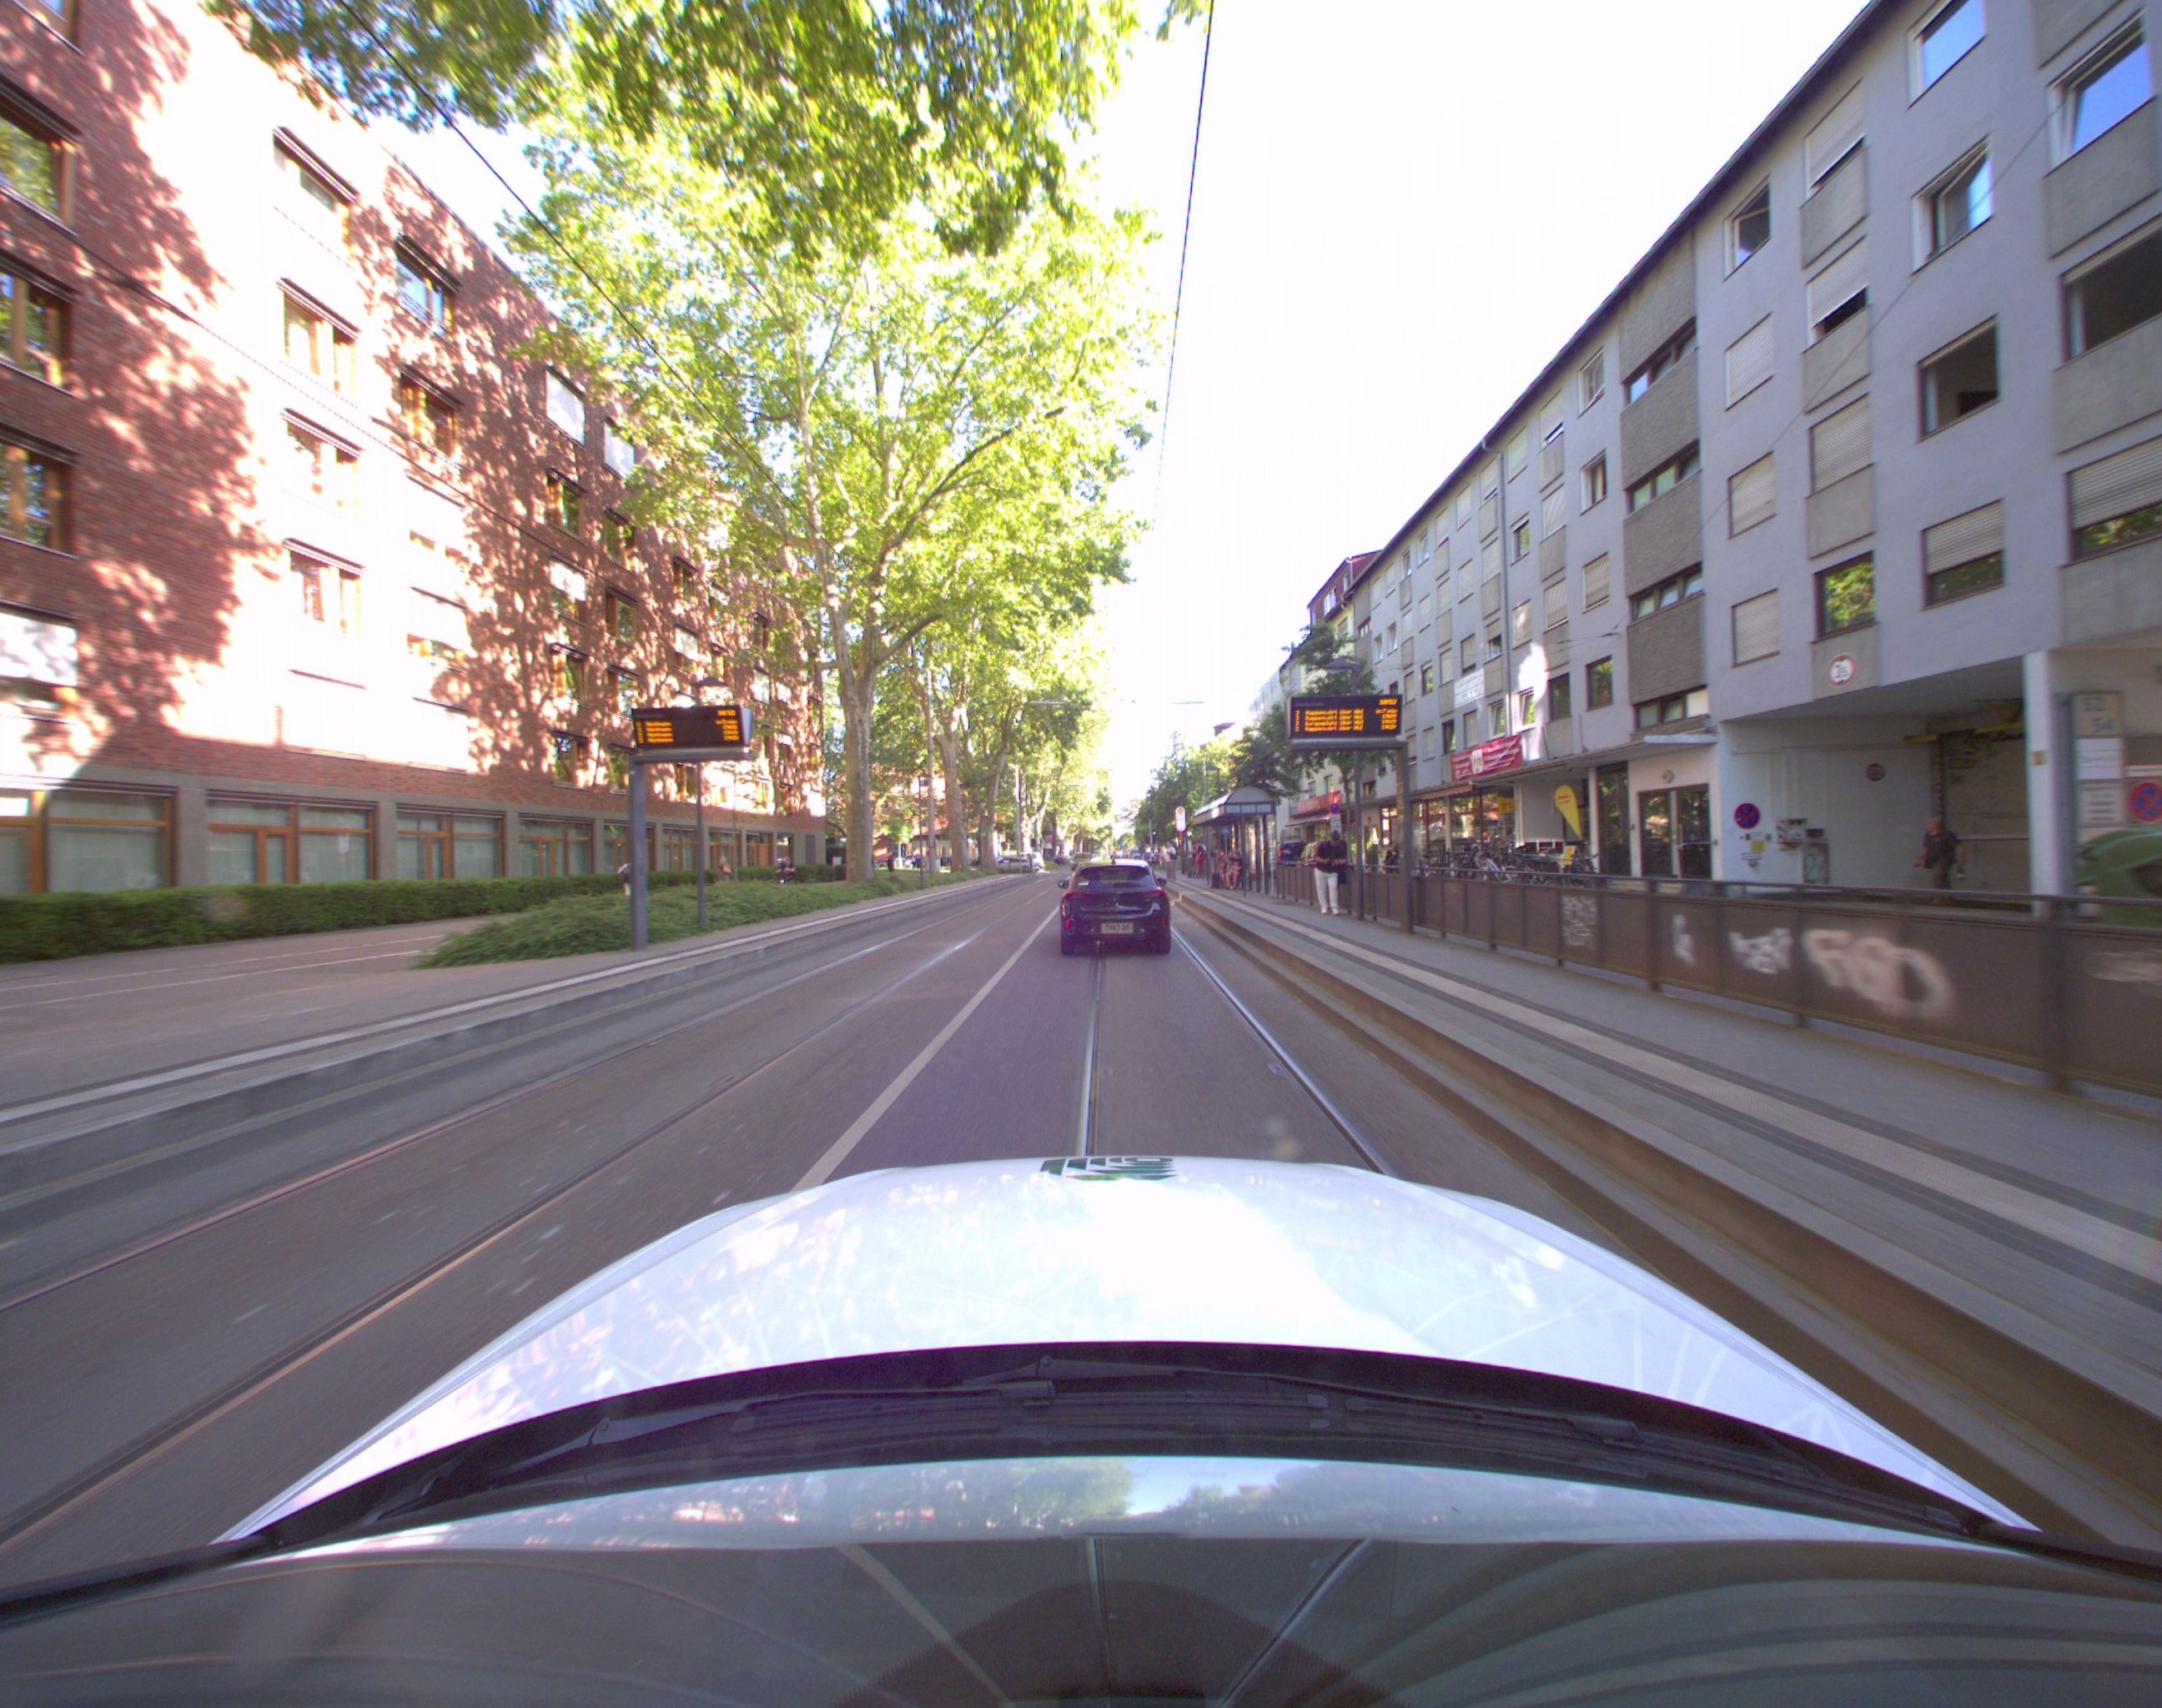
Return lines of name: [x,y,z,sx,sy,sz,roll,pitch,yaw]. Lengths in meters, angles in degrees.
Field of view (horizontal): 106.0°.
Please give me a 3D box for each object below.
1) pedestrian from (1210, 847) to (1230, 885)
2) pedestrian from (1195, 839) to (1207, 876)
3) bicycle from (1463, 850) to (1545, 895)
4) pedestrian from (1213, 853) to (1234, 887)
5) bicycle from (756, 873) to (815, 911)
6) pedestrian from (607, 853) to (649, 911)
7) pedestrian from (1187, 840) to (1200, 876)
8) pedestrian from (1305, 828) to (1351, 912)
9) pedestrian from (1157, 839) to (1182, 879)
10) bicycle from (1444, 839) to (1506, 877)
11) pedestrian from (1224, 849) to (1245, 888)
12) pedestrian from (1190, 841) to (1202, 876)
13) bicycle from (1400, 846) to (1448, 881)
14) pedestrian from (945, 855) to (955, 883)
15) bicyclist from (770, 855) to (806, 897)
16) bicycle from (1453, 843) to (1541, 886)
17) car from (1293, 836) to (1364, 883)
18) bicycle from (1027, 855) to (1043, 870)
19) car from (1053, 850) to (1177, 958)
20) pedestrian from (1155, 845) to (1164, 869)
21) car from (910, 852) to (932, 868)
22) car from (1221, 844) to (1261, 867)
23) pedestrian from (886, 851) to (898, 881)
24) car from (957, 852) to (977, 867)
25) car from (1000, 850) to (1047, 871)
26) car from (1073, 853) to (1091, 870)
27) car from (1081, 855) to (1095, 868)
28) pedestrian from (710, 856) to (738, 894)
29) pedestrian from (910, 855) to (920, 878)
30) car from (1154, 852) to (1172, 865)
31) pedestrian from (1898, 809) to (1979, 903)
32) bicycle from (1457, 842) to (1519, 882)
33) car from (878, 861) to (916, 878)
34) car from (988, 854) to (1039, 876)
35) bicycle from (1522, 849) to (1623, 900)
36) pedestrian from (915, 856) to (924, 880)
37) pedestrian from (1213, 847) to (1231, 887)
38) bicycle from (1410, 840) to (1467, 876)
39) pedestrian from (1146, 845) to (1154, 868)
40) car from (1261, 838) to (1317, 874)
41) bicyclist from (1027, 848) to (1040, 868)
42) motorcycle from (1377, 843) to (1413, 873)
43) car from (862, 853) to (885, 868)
pedestrian: [4.739,0.405,27.796,0.533,1.304,0.550,-1,-1,-3]
pedestrian: [5.825,0.171,39.526,0.529,1.763,0.662,-1,-1,4]
bicycle: [11.239,0.478,21.771,0.602,1.136,2.427,-1,-1,-9]
pedestrian: [4.666,0.524,26.676,0.533,1.099,0.550,-1,-1,-3]
bicycle: [-10.599,1.351,29.390,0.951,1.240,2.979,-1,0,2]
pedestrian: [-13.416,0.809,24.132,0.732,1.672,0.861,-1,-1,2]
pedestrian: [5.365,0.193,38.911,0.529,1.709,0.753,-1,-1,4]
pedestrian: [4.752,0.303,15.733,0.628,1.576,0.871,1,0,2]
pedestrian: [3.775,0.220,34.760,0.742,1.709,0.768,-1,-1,36]
bicycle: [12.342,0.124,25.608,0.597,1.136,2.197,-1,-1,-9]
pedestrian: [4.925,0.463,26.155,0.533,1.230,0.510,-1,-1,-3]
pedestrian: [5.679,0.205,40.257,0.529,1.709,0.596,-1,-1,4]
bicycle: [11.758,0.318,28.011,0.596,1.136,2.201,-1,-1,-4]
pedestrian: [-9.311,1.055,57.892,0.669,1.950,0.498,-1,-1,1]
bicyclist: [-10.610,0.797,29.503,0.951,1.491,0.838,-1,-1,1]
bicycle: [11.692,0.296,23.025,0.611,1.136,2.912,-1,0,-9]
car: [10.831,0.237,35.936,1.986,1.952,4.000,-1,-1,1]
bicycle: [-4.080,0.765,72.045,0.950,1.240,2.981,-1,0,5]
car: [0.485,0.736,13.699,1.754,1.508,3.682,-2,0,-1]
pedestrian: [6.728,0.260,70.052,0.670,2.013,0.704,0,0,13]
car: [-21.591,0.788,109.917,1.986,2.014,4.001,-1,-1,2]
car: [10.746,0.133,54.974,1.986,1.486,4.002,-1,0,2]
pedestrian: [-12.715,0.811,54.725,0.493,1.950,0.677,-1,-1,14]
car: [-15.469,0.749,110.570,1.986,2.014,4.001,-1,-1,2]
car: [-5.495,0.620,77.645,4.378,1.851,1.996,-1,-1,-6]
car: [0.118,0.727,79.930,1.740,1.544,3.999,-1,0,0]
car: [0.953,1.026,110.567,1.779,1.693,3.999,-1,0,0]
pedestrian: [-15.316,0.910,34.977,0.772,1.605,0.946,-1,-1,2]
pedestrian: [-13.890,1.056,68.111,0.670,1.950,0.498,0,0,-2]
car: [10.731,0.631,106.779,1.986,1.632,4.002,-1,0,2]
pedestrian: [16.686,0.043,15.868,0.716,1.771,0.819,-1,0,1]
bicycle: [12.051,0.240,24.188,0.410,1.136,2.197,-1,-1,-9]
car: [-23.135,1.970,102.538,4.234,2.014,2.001,-1,-1,1]
car: [-5.518,0.873,66.871,4.108,1.701,1.880,-1,-1,-6]
bicycle: [11.584,0.468,19.320,0.621,1.136,2.431,-1,-1,-9]
pedestrian: [-13.321,1.184,67.220,0.670,1.950,0.498,0,0,-2]
pedestrian: [4.699,0.432,27.212,0.501,1.304,0.428,-1,-1,-3]
bicycle: [11.667,0.140,26.631,0.597,1.136,2.197,-1,-1,-9]
pedestrian: [5.987,0.219,70.567,0.671,2.013,0.703,0,0,7]
car: [10.816,0.123,42.594,1.986,1.797,4.000,-1,0,1]
bicyclist: [-4.166,0.320,71.140,0.936,1.703,1.154,-1,-1,5]
motorcycle: [14.076,0.173,36.605,0.888,1.280,2.044,-1,-1,2]
car: [-27.985,0.891,110.001,1.986,2.014,4.001,-1,-1,2]
